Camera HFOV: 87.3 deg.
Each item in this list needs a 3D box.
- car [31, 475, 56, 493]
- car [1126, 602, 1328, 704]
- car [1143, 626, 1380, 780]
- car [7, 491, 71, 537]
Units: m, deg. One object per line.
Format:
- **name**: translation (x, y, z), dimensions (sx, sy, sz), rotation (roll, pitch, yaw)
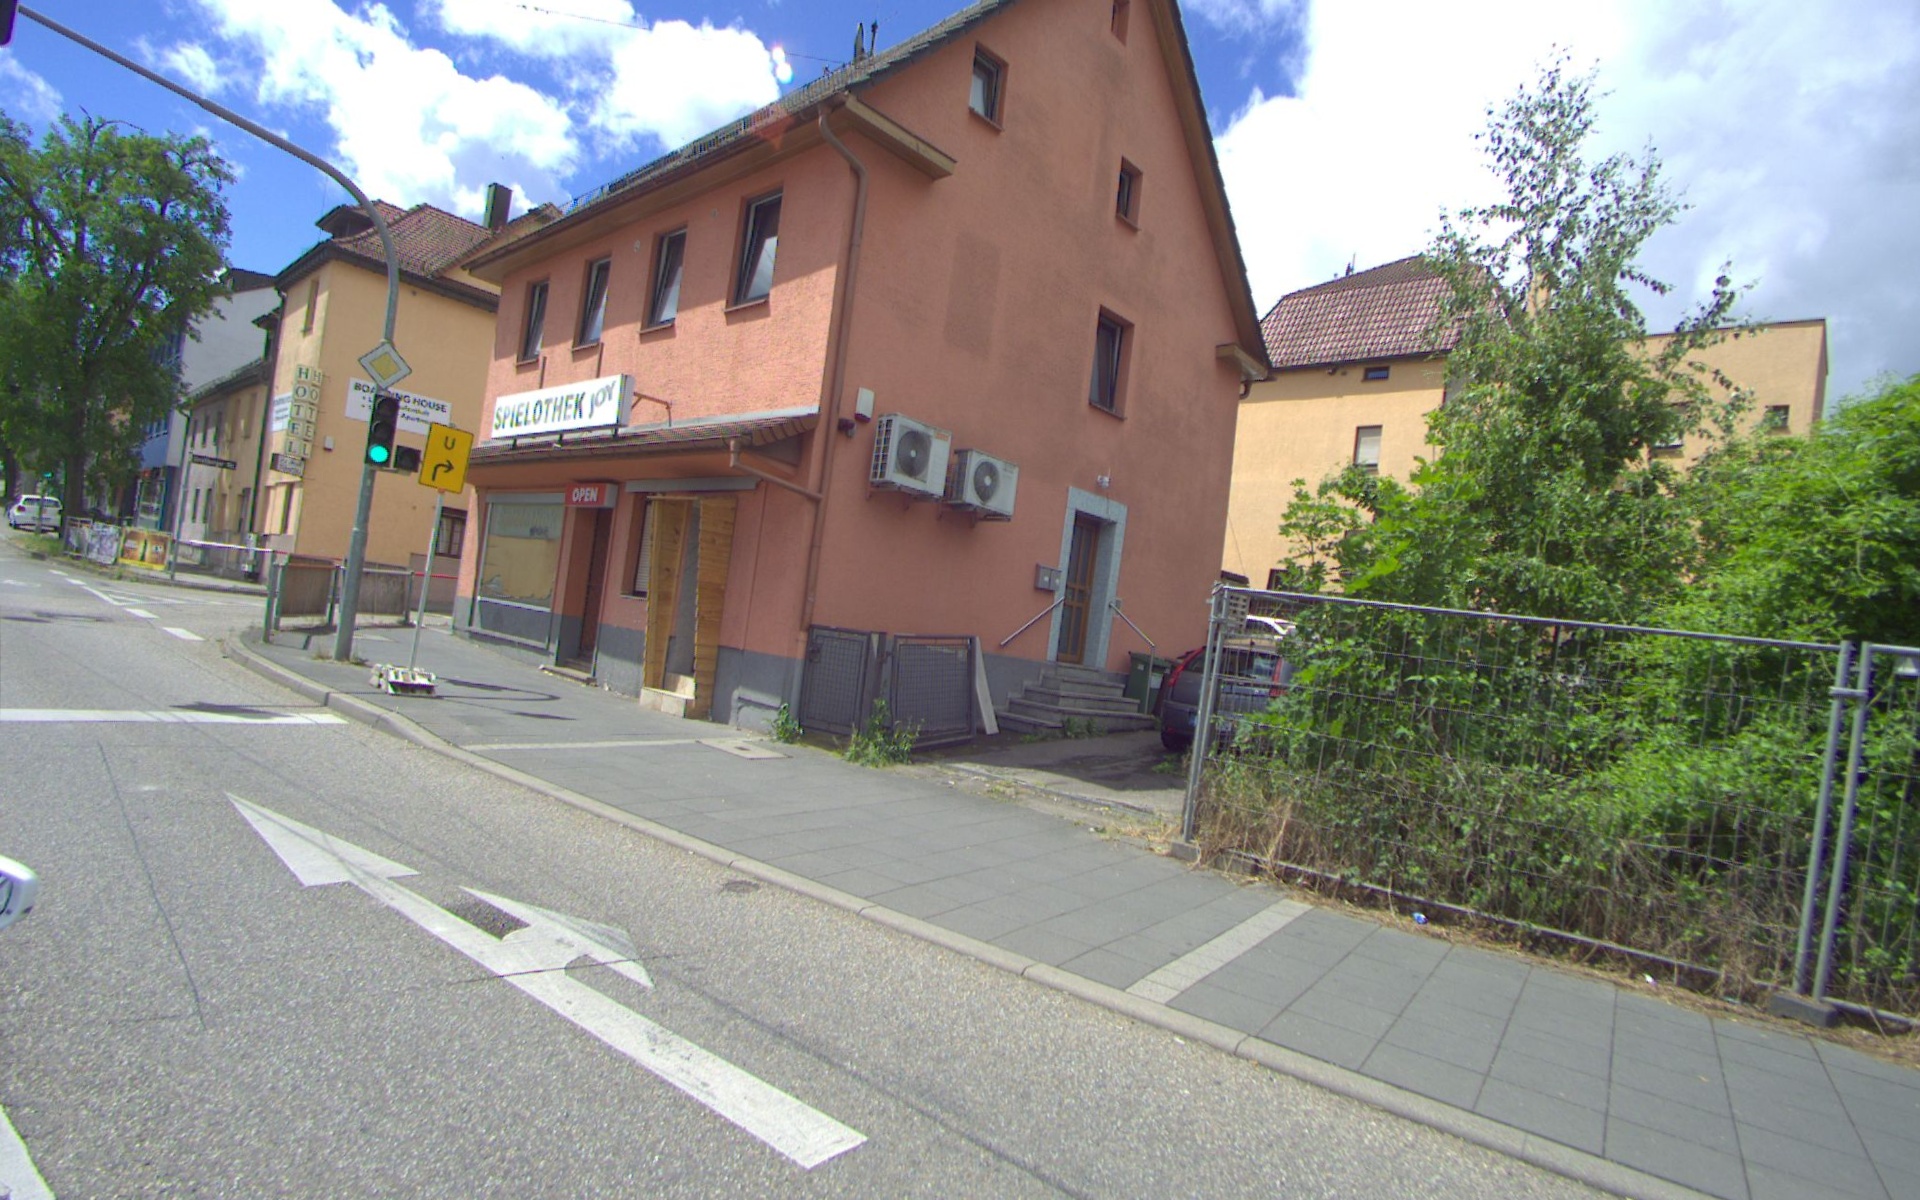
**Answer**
- **car**: translation (-112.998, -14.265, 124.037), dimensions (1.985, 1.682, 3.957), rotation (7, -1, -40)
- **car**: translation (6.210, 1.221, 23.650), dimensions (3.947, 1.804, 1.990), rotation (7, -1, 44)
- **car**: translation (3.793, 1.201, 12.484), dimensions (1.627, 1.516, 2.796), rotation (7, 2, 43)
- **car**: translation (-39.505, -3.684, 43.130), dimensions (1.782, 1.615, 3.950), rotation (7, -1, -45)
